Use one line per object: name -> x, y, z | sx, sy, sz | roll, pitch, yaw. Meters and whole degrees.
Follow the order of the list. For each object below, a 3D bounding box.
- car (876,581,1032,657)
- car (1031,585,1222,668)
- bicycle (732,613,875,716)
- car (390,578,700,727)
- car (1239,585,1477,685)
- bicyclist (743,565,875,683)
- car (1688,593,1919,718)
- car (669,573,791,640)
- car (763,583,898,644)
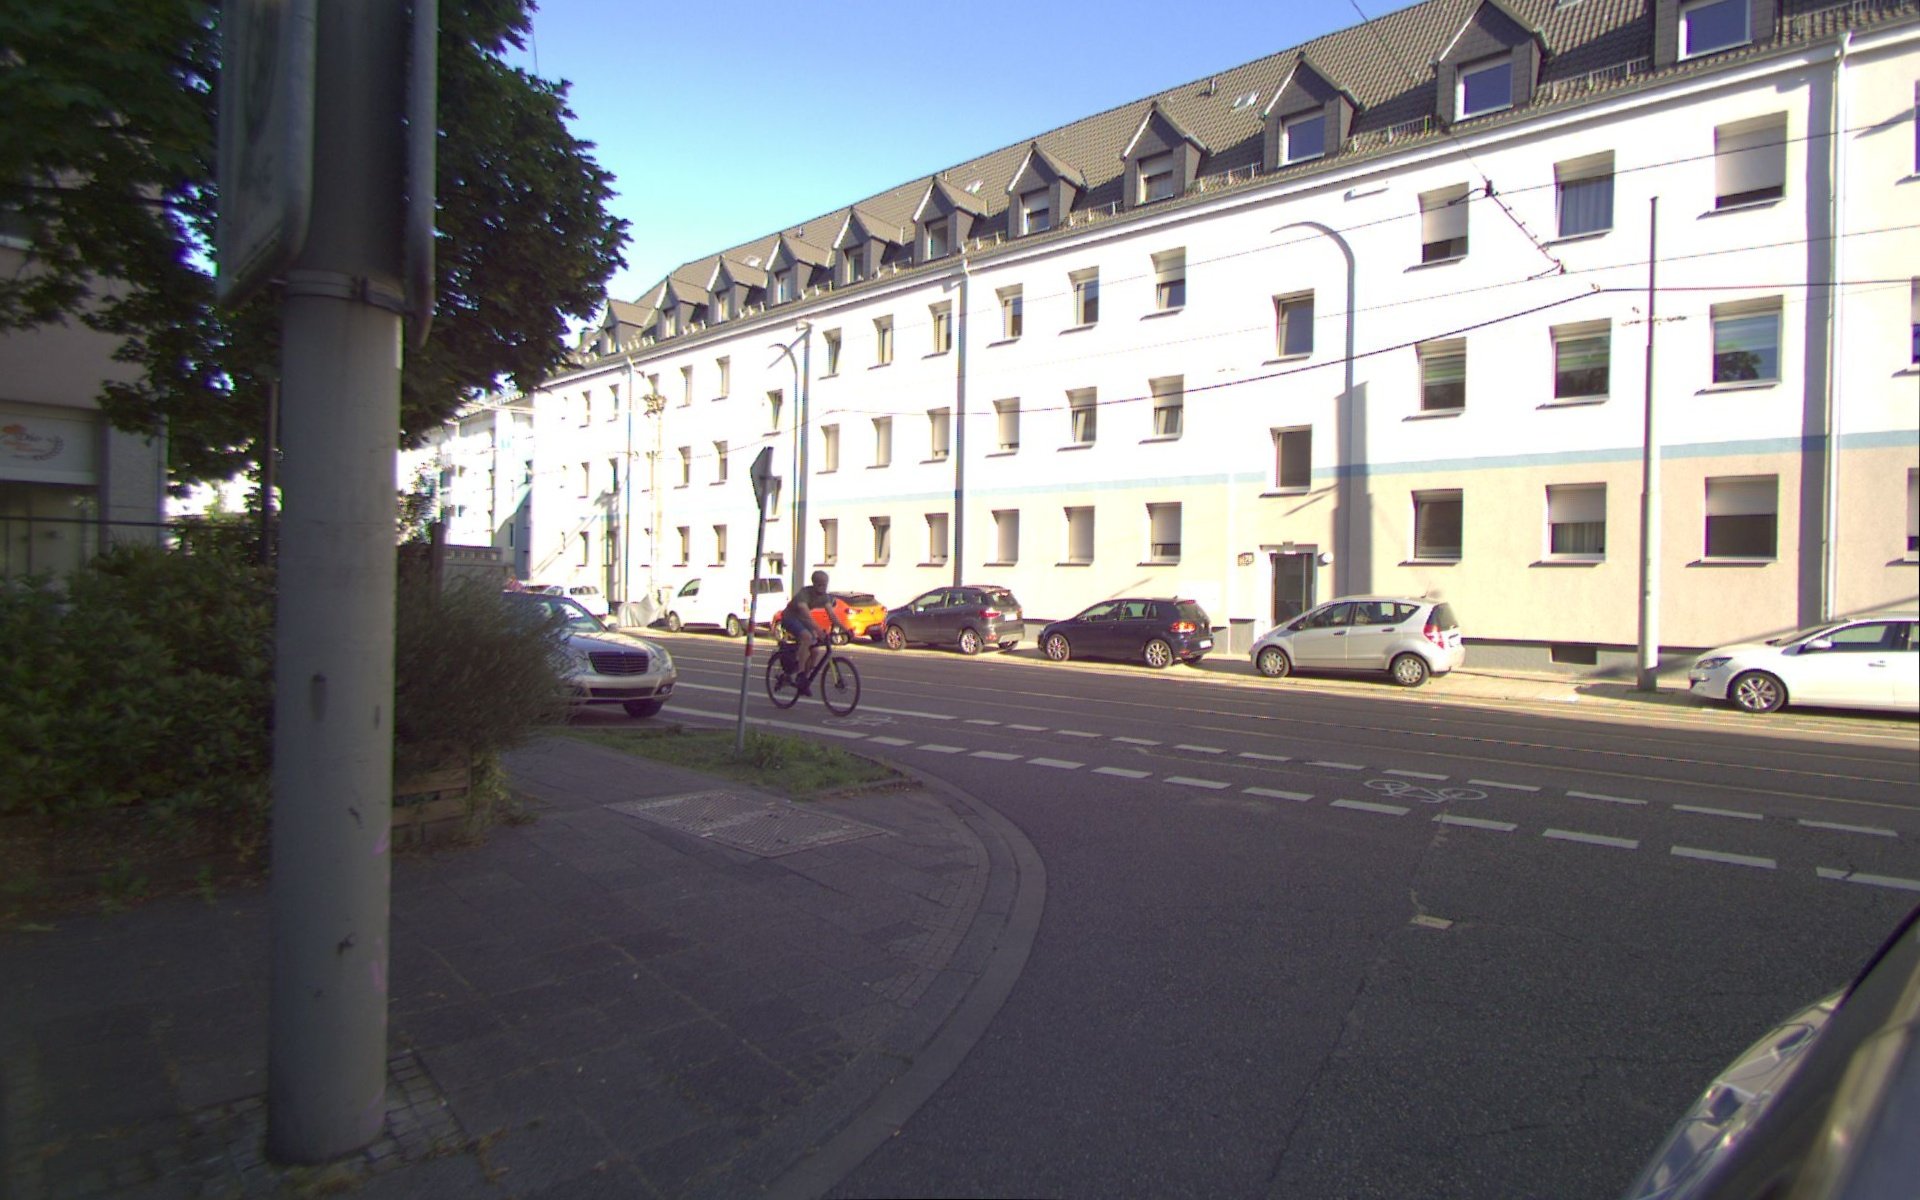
car -> -0.203, 0.415, 25.870 | 3.887, 1.690, 1.642 | 2, 4, 41
car -> 3.647, 0.517, 22.537 | 3.991, 1.556, 1.574 | 2, 3, 41
bicycle -> -1.967, 0.758, 12.561 | 1.951, 1.115, 0.615 | 1, 2, 39
car -> -5.048, 0.534, 12.085 | 3.982, 1.461, 1.724 | 2, -2, 40
car -> 7.528, 0.572, 19.321 | 3.888, 1.590, 1.735 | 2, 4, 41
bicyclist -> -1.836, 0.263, 12.375 | 1.089, 1.347, 1.171 | 1, 1, 38
car -> 13.196, 0.761, 14.423 | 4.489, 1.590, 1.661 | 2, 2, 40
car -> -7.434, 0.132, 32.553 | 4.137, 1.995, 1.766 | 2, 2, 41
car -> -3.763, 0.336, 29.082 | 3.762, 1.501, 1.776 | 2, 5, 41
